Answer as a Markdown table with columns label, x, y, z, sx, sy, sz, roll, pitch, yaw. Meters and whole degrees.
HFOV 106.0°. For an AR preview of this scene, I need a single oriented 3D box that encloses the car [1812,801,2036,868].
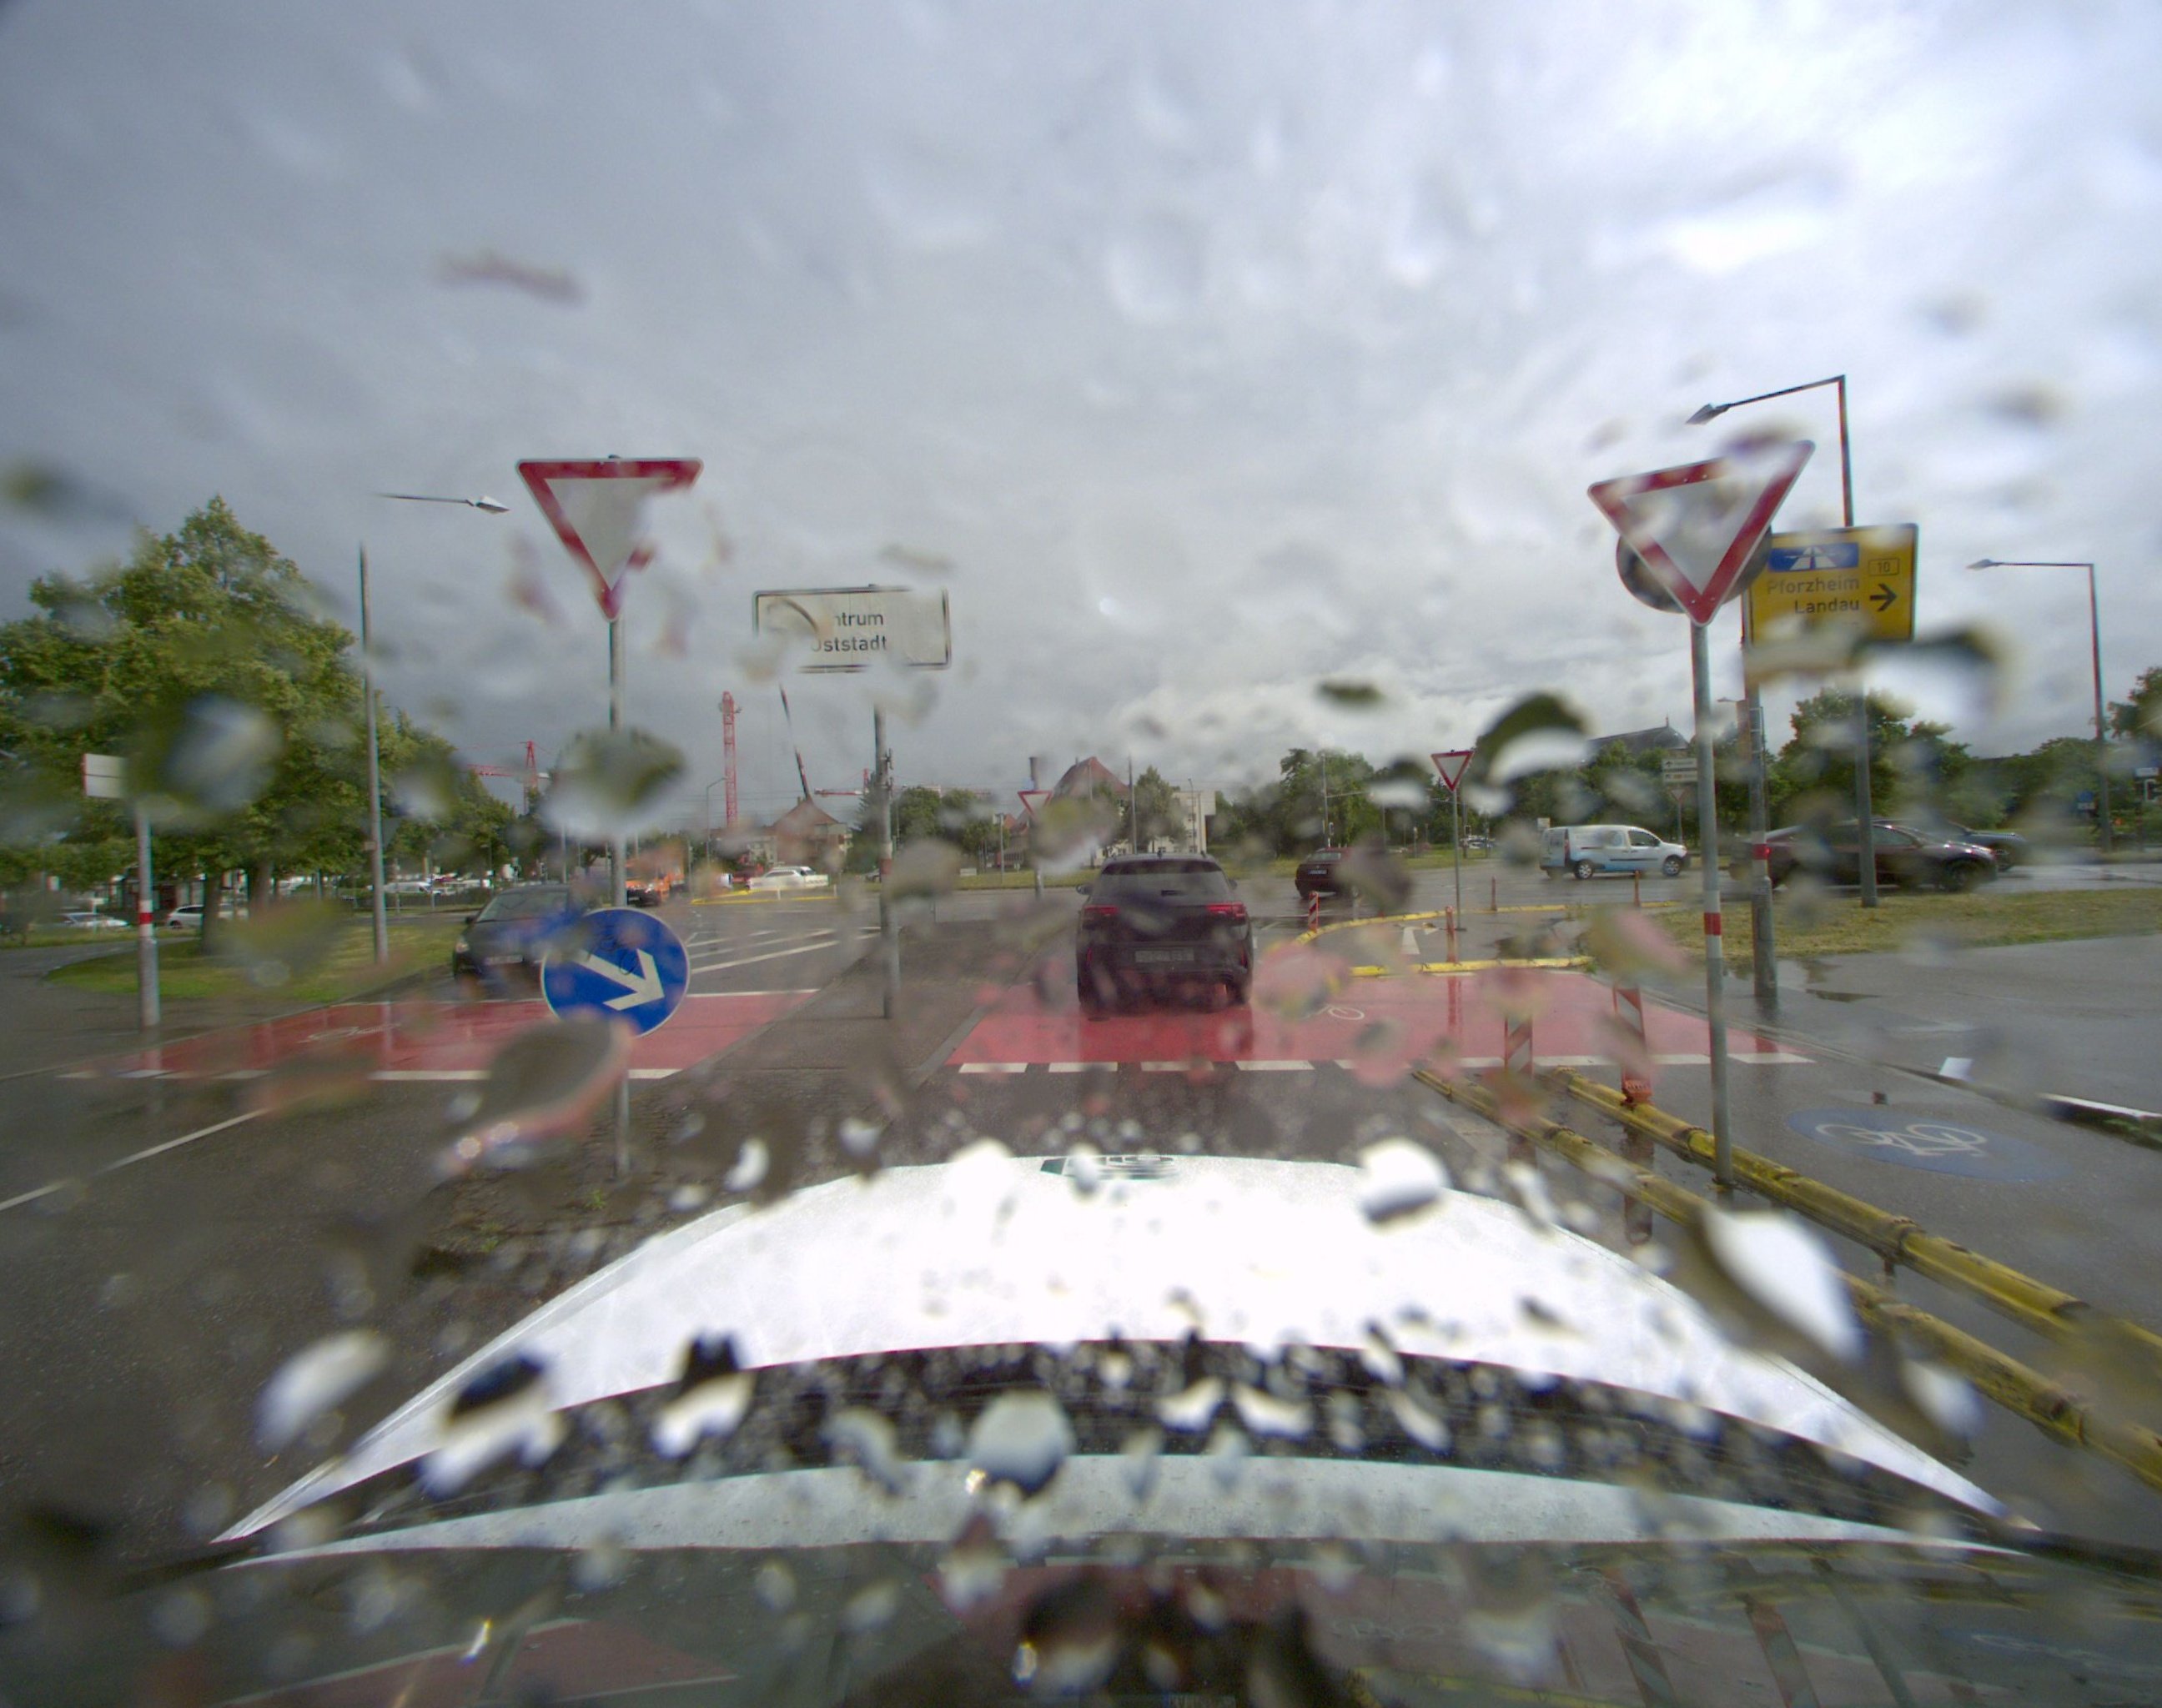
| label | x | y | z | sx | sy | sz | roll | pitch | yaw |
| --- | --- | --- | --- | --- | --- | --- | --- | --- | --- |
| car | 25.735 | -0.576 | 25.086 | 4.271 | 1.757 | 2.053 | -3 | 0 | 21 |

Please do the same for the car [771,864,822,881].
| label | x | y | z | sx | sy | sz | roll | pitch | yaw |
| --- | --- | --- | --- | --- | --- | --- | --- | --- | --- |
| car | -37.728 | 2.458 | 108.029 | 6.208 | 2.085 | 2.048 | 0 | -1 | 9 |

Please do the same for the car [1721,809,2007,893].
| label | x | y | z | sx | sy | sz | roll | pitch | yaw |
| --- | --- | --- | --- | --- | --- | --- | --- | --- | --- |
| car | 18.109 | -0.063 | 19.109 | 4.450 | 1.657 | 1.883 | -3 | 0 | 16 |

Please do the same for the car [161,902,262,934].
| label | x | y | z | sx | sy | sz | roll | pitch | yaw |
| --- | --- | --- | --- | --- | --- | --- | --- | --- | --- |
| car | -48.195 | 3.534 | 45.176 | 3.873 | 1.508 | 1.729 | -3 | 0 | 4 |

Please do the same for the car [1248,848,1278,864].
| label | x | y | z | sx | sy | sz | roll | pitch | yaw |
| --- | --- | --- | --- | --- | --- | --- | --- | --- | --- |
| car | 25.837 | 0.323 | 115.783 | 2.108 | 2.057 | 5.139 | -3 | 0 | -12 |

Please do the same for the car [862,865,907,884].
| label | x | y | z | sx | sy | sz | roll | pitch | yaw |
| --- | --- | --- | --- | --- | --- | --- | --- | --- | --- |
| car | -17.978 | 1.836 | 74.709 | 3.699 | 1.560 | 1.554 | -2 | 0 | -44 |

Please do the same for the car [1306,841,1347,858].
| label | x | y | z | sx | sy | sz | roll | pitch | yaw |
| --- | --- | --- | --- | --- | --- | --- | --- | --- | --- |
| car | 23.662 | -0.443 | 78.496 | 1.559 | 1.454 | 3.458 | -3 | 0 | -42 |

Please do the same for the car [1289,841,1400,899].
| label | x | y | z | sx | sy | sz | roll | pitch | yaw |
| --- | --- | --- | --- | --- | --- | --- | --- | --- | --- |
| car | 7.949 | 0.450 | 24.335 | 1.698 | 1.462 | 4.026 | -3 | 0 | 40 |

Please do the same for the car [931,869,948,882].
| label | x | y | z | sx | sy | sz | roll | pitch | yaw |
| --- | --- | --- | --- | --- | --- | --- | --- | --- | --- |
| car | -17.771 | 2.717 | 102.411 | 1.540 | 1.560 | 3.498 | -2 | 0 | -1 |

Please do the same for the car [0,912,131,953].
| label | x | y | z | sx | sy | sz | roll | pitch | yaw |
| --- | --- | --- | --- | --- | --- | --- | --- | --- | --- |
| car | -52.565 | 4.049 | 42.208 | 4.439 | 1.672 | 1.868 | -4 | 0 | 2 |

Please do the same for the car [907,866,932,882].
| label | x | y | z | sx | sy | sz | roll | pitch | yaw |
| --- | --- | --- | --- | --- | --- | --- | --- | --- | --- |
| car | -17.318 | 2.134 | 87.435 | 1.786 | 1.585 | 3.999 | -2 | 0 | 0 |

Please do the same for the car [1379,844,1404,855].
| label | x | y | z | sx | sy | sz | roll | pitch | yaw |
| --- | --- | --- | --- | --- | --- | --- | --- | --- | --- |
| car | 46.185 | -0.700 | 121.069 | 1.642 | 1.462 | 3.593 | -2 | -1 | -14 |

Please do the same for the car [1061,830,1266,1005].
| label | x | y | z | sx | sy | sz | roll | pitch | yaw |
| --- | --- | --- | --- | --- | --- | --- | --- | --- | --- |
| car | 0.881 | 0.614 | 9.646 | 1.889 | 1.618 | 4.003 | -1 | 0 | 3 |

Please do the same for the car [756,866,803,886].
| label | x | y | z | sx | sy | sz | roll | pitch | yaw |
| --- | --- | --- | --- | --- | --- | --- | --- | --- | --- |
| car | -25.528 | 1.857 | 69.004 | 3.508 | 1.510 | 1.487 | -2 | 0 | -27 |

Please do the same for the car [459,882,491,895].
| label | x | y | z | sx | sy | sz | roll | pitch | yaw |
| --- | --- | --- | --- | --- | --- | --- | --- | --- | --- |
| car | -90.010 | 5.124 | 121.048 | 3.575 | 1.722 | 1.500 | -3 | 0 | 1 |

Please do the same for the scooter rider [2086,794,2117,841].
| label | x | y | z | sx | sy | sz | roll | pitch | yaw |
| --- | --- | --- | --- | --- | --- | --- | --- | --- | --- |
| scooter rider | 44.632 | -1.590 | 35.629 | 0.697 | 2.014 | 0.775 | -1 | -1 | 43 |

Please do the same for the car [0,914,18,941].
| label | x | y | z | sx | sy | sz | roll | pitch | yaw |
| --- | --- | --- | --- | --- | --- | --- | --- | --- | --- |
| car | -63.127 | 4.285 | 46.089 | 3.873 | 1.508 | 1.729 | -3 | 0 | 4 |

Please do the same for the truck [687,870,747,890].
| label | x | y | z | sx | sy | sz | roll | pitch | yaw |
| --- | --- | --- | --- | --- | --- | --- | --- | --- | --- |
| truck | -42.481 | 3.063 | 95.122 | 6.040 | 2.212 | 2.405 | -1 | -1 | 12 |

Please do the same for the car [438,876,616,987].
| label | x | y | z | sx | sy | sz | roll | pitch | yaw |
| --- | --- | --- | --- | --- | --- | --- | --- | --- | --- |
| car | -9.593 | 1.241 | 14.405 | 1.633 | 1.533 | 3.435 | -4 | 1 | -19 |

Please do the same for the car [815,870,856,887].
| label | x | y | z | sx | sy | sz | roll | pitch | yaw |
| --- | --- | --- | --- | --- | --- | --- | --- | --- | --- |
| car | -27.619 | 2.786 | 91.703 | 1.974 | 1.684 | 4.026 | -3 | 0 | 36 |

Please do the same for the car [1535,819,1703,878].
| label | x | y | z | sx | sy | sz | roll | pitch | yaw |
| --- | --- | --- | --- | --- | --- | --- | --- | --- | --- |
| car | 18.334 | -0.198 | 27.901 | 4.523 | 1.762 | 1.867 | -2 | 0 | -1 |

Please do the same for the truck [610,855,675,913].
| label | x | y | z | sx | sy | sz | roll | pitch | yaw |
| --- | --- | --- | --- | --- | --- | --- | --- | --- | --- |
| truck | -23.165 | 1.510 | 43.297 | 2.466 | 2.726 | 6.888 | -3 | 0 | -25 |

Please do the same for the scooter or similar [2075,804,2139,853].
| label | x | y | z | sx | sy | sz | roll | pitch | yaw |
| --- | --- | --- | --- | --- | --- | --- | --- | --- | --- |
| scooter or similar | 44.271 | -1.051 | 35.206 | 1.224 | 2.014 | 3.429 | -1 | -1 | 44 |

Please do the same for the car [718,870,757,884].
| label | x | y | z | sx | sy | sz | roll | pitch | yaw |
| --- | --- | --- | --- | --- | --- | --- | --- | --- | --- |
| car | -42.744 | 2.804 | 101.329 | 3.965 | 1.700 | 1.934 | 0 | -1 | 7 |

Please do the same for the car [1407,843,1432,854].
| label | x | y | z | sx | sy | sz | roll | pitch | yaw |
| --- | --- | --- | --- | --- | --- | --- | --- | --- | --- |
| car | 50.982 | -0.868 | 122.678 | 1.645 | 1.510 | 3.636 | -2 | -1 | -11 |
